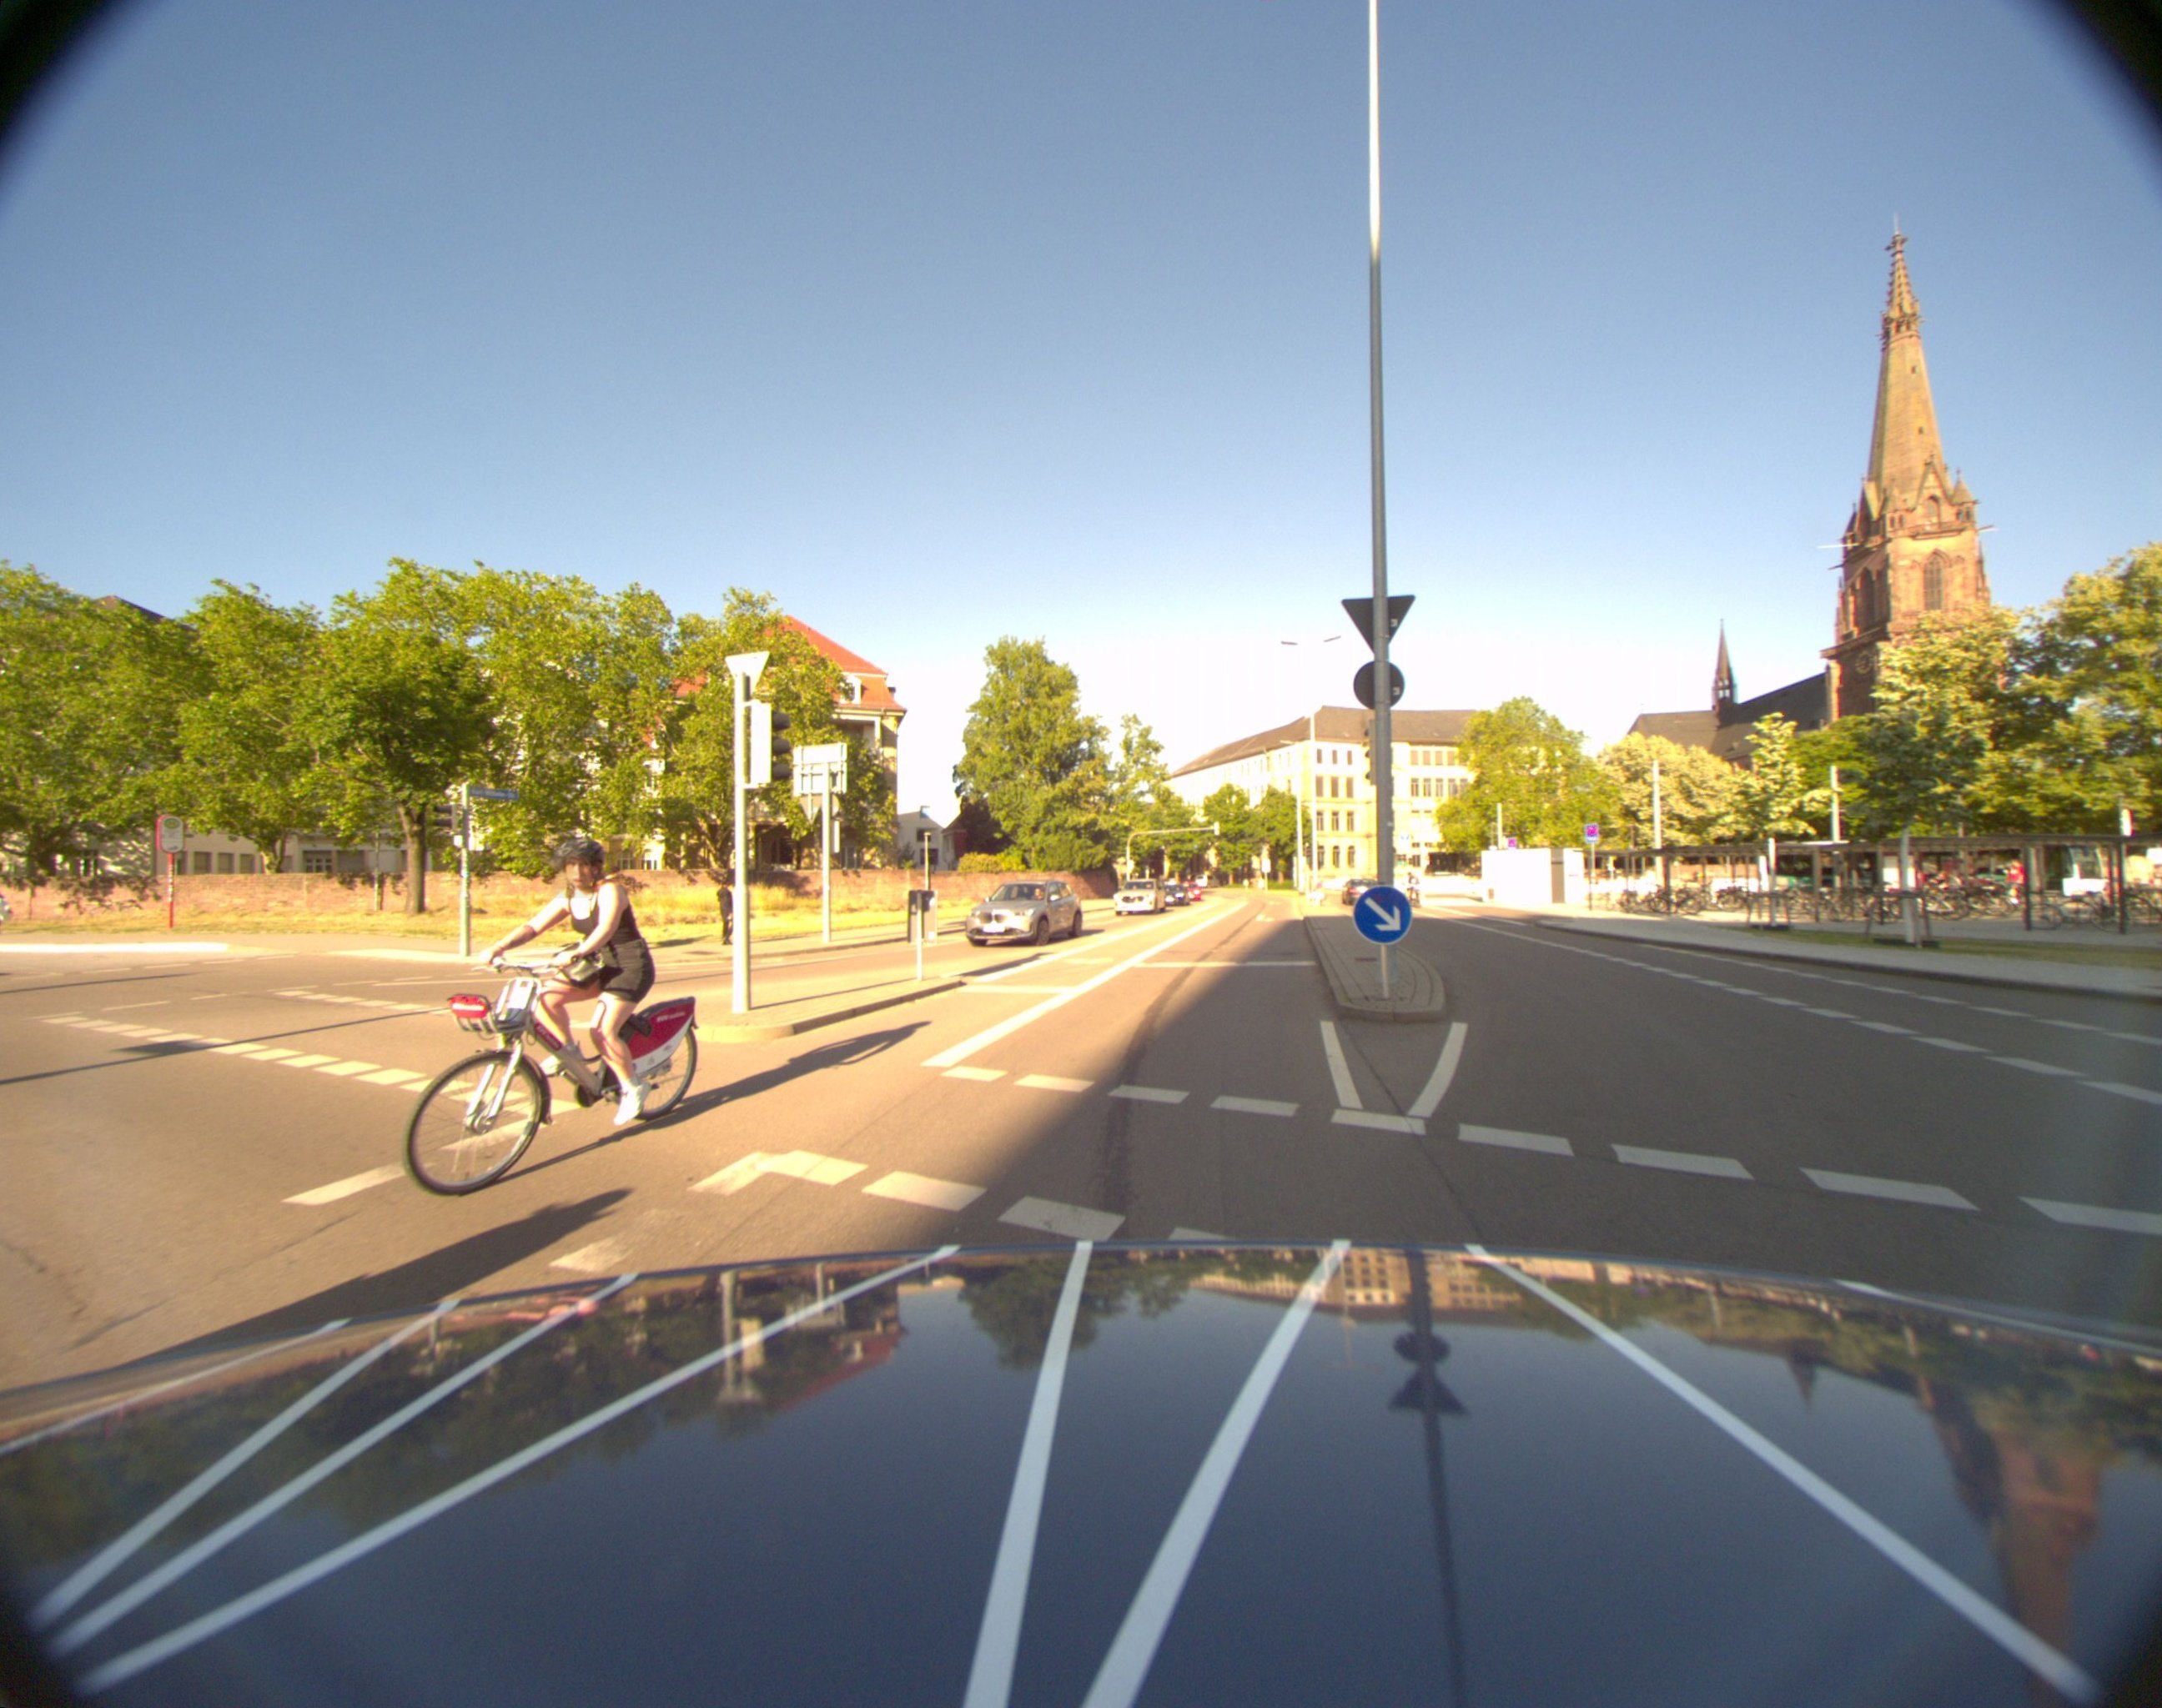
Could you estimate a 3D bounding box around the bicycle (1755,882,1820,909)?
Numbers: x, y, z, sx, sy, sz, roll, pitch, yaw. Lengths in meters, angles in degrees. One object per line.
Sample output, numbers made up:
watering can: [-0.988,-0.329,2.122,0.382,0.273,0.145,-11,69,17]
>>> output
bicycle: [28.964,1.688,31.187,0.418,1.048,1.970,-2,0,-19]

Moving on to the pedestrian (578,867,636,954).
pedestrian: [-10.674,1.250,17.122,0.873,1.883,0.712,2,1,-12]

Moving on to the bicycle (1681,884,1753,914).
bicycle: [24.443,1.719,29.251,0.759,1.048,1.970,-2,0,-20]

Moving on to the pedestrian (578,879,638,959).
pedestrian: [-10.250,1.402,16.486,0.873,1.664,0.712,2,1,-12]

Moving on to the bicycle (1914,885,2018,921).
bicycle: [28.864,1.575,24.835,0.605,1.037,2.104,-2,0,-22]

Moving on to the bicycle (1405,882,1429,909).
bicycle: [16.014,1.964,36.269,0.764,1.179,2.609,-3,-2,18]

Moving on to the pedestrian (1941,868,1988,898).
pedestrian: [42.012,1.376,36.151,1.054,1.341,1.078,-2,-1,-17]

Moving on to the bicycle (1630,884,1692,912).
bicycle: [23.705,1.775,31.109,0.683,1.048,1.933,-2,0,-19]

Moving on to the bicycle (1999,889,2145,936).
bicycle: [25.330,1.466,19.480,0.746,1.099,2.121,-2,-2,-24]

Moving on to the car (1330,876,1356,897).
car: [17.960,2.197,52.238,1.381,1.330,3.508,-1,-1,14]

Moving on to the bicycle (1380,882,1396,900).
bicycle: [19.448,2.342,48.187,0.880,1.090,2.192,-1,-1,21]

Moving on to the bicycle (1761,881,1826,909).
bicycle: [29.365,1.675,31.333,0.418,1.048,1.970,-2,0,-19]

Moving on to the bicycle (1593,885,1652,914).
bicycle: [21.403,1.783,30.052,0.567,1.048,1.971,-2,0,-15]

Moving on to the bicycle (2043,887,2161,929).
bicycle: [27.786,1.448,20.707,0.523,1.037,1.845,-2,0,-25]

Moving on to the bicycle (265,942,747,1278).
bicycle: [-2.790,1.134,4.077,0.718,1.114,2.069,-1,-1,13]

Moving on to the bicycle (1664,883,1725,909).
bicycle: [26.250,1.780,32.569,0.512,1.048,1.969,-2,0,-27]

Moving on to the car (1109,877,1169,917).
car: [2.837,1.994,36.252,2.192,1.673,4.612,-3,-2,12]

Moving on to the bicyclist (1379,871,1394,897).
bicyclist: [19.401,1.893,48.222,0.864,1.643,0.946,-1,-1,23]

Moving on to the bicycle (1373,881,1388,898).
bicycle: [20.259,2.386,51.378,0.880,1.090,2.192,-1,-1,21]

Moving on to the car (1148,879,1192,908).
car: [5.603,2.414,47.371,2.192,1.576,4.612,-3,-2,12]

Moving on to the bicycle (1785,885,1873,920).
bicycle: [25.494,1.634,25.943,0.867,1.037,1.928,-2,0,-22]

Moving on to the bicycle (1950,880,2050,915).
bicycle: [31.099,1.456,25.756,0.567,1.083,2.068,-2,0,-21]

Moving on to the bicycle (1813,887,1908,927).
bicycle: [23.897,1.605,23.344,0.567,1.099,1.970,-2,0,-20]

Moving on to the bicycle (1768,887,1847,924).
bicycle: [23.745,1.659,24.867,0.486,1.099,1.798,-2,0,-26]

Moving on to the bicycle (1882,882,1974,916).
bicycle: [29.523,1.549,26.541,0.567,1.083,2.068,-2,0,-21]

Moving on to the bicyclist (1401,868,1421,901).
bicyclist: [17.052,1.587,39.270,0.764,1.658,1.063,-3,-1,18]

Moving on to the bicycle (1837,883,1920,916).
bicycle: [28.131,1.586,26.847,0.537,1.083,1.928,-2,0,-21]

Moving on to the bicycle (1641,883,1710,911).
bicycle: [25.043,1.797,32.060,0.838,1.048,2.116,-2,0,-22]

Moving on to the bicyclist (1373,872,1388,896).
bicyclist: [20.251,2.013,51.377,0.864,1.643,0.946,-1,-1,21]

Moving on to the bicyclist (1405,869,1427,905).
bicyclist: [15.993,1.548,36.287,0.764,1.658,1.063,-3,-1,18]

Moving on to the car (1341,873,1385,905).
car: [14.598,1.776,39.498,1.803,1.436,3.983,-2,0,16]

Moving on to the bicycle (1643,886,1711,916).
bicycle: [22.402,1.744,28.606,0.567,1.048,1.970,-2,0,-22]

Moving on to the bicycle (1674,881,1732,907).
bicycle: [27.620,1.754,33.779,0.498,1.048,1.970,-2,0,-23]

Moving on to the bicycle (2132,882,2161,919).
bicycle: [32.302,1.375,22.109,0.523,1.037,1.928,-2,0,-21]

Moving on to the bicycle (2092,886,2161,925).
bicycle: [30.121,1.451,21.376,0.523,1.037,1.928,-2,0,-21]

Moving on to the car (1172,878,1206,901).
car: [8.475,2.712,59.264,2.192,1.576,4.612,-3,-2,12]

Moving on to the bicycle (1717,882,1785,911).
bicycle: [26.909,1.686,30.555,0.567,1.048,1.970,-2,0,-22]

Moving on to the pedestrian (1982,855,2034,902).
pedestrian: [41.710,1.103,34.195,1.135,2.001,1.029,-2,-1,-17]

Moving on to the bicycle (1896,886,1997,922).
bicycle: [27.493,1.569,24.189,0.604,1.037,2.031,-2,0,-16]

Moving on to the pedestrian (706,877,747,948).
pedestrian: [-8.556,1.400,18.343,0.794,1.643,0.711,2,1,-30]

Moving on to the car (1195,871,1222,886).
car: [18.892,3.638,112.779,1.994,2.002,4.159,-1,2,40]

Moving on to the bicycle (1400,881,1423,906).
bicycle: [17.070,2.004,39.273,0.764,1.179,2.609,-3,-2,18]

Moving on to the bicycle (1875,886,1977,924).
bicycle: [26.437,1.574,23.819,0.605,1.037,2.031,-2,0,-19]

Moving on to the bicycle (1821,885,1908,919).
bicycle: [26.955,1.623,26.173,0.768,1.037,1.928,-2,0,-22]

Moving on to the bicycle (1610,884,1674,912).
bicycle: [22.759,1.769,30.858,0.683,1.048,2.019,-2,0,-19]

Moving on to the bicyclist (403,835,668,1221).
bicyclist: [-2.816,0.816,4.001,0.716,1.777,0.850,-1,-1,13]

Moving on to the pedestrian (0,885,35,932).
pedestrian: [-35.517,1.796,25.038,0.921,1.527,0.975,-1,-1,19]

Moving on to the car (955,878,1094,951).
car: [-1.314,1.467,19.816,2.152,1.610,4.369,-1,-1,17]

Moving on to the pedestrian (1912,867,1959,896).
pedestrian: [40.804,1.317,36.289,1.054,1.341,1.078,-2,-1,-17]

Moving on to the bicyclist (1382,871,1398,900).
bicyclist: [18.051,1.831,44.390,0.864,1.643,0.946,-1,-1,21]
